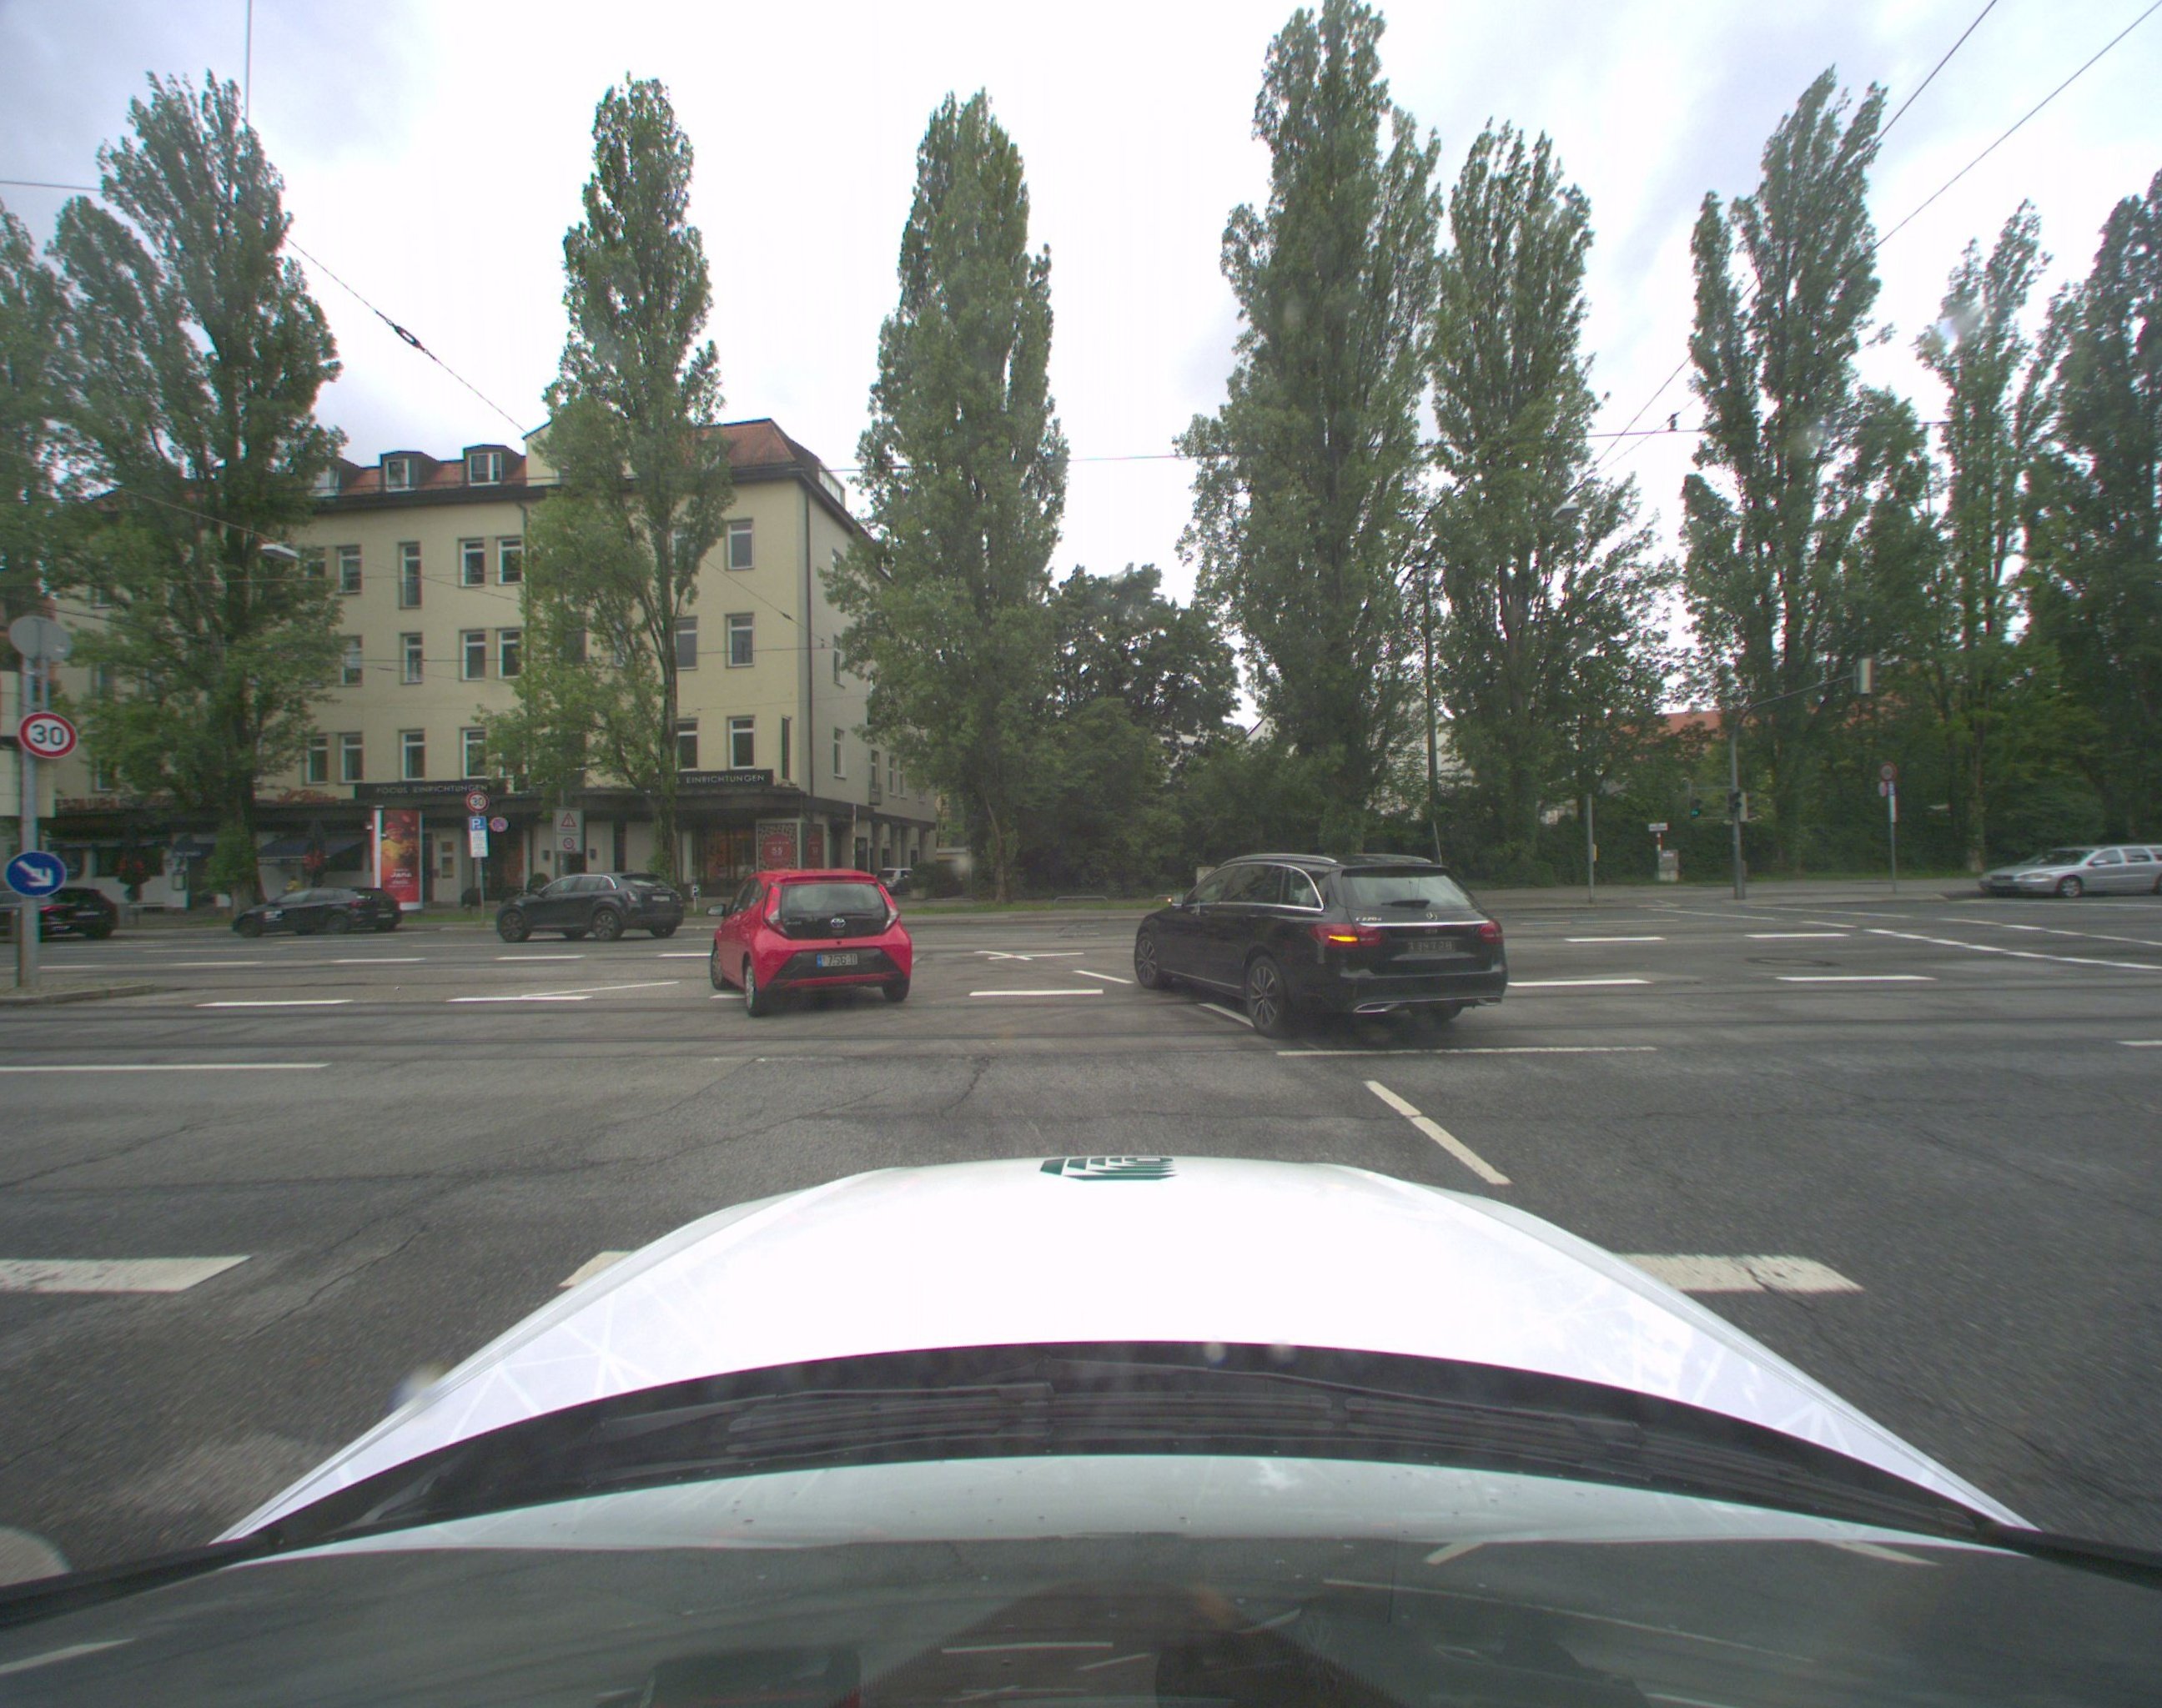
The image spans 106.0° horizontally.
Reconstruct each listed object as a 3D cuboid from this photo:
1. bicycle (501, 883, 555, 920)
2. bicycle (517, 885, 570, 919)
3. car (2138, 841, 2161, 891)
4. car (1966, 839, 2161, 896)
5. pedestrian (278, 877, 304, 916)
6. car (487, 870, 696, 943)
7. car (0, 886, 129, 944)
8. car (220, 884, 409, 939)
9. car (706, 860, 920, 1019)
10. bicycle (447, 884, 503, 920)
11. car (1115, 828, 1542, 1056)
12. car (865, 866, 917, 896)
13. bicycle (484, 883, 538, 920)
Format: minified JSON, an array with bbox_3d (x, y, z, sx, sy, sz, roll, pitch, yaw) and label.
[{"bbox_3d":[-19.267,1.649,28.423,0.492,1.185,1.890,-1,-1,3],"label":"bicycle"},{"bbox_3d":[-18.741,1.660,28.433,0.492,1.082,1.890,-1,-1,3],"label":"bicycle"},{"bbox_3d":[33.727,0.287,23.382,4.227,1.486,1.788,-2,-1,3],"label":"car"},{"bbox_3d":[28.534,0.374,23.301,4.319,1.486,1.788,-2,-1,3],"label":"car"},{"bbox_3d":[-32.883,1.763,33.898,0.491,1.562,0.575,0,-1,6],"label":"pedestrian"},{"bbox_3d":[-11.004,1.170,18.372,3.956,1.486,1.794,-2,-1,16],"label":"car"},{"bbox_3d":[-32.156,1.861,24.845,4.435,1.612,1.729,-2,-1,4],"label":"car"},{"bbox_3d":[-22.957,1.695,24.503,3.972,1.466,1.805,-1,-1,1],"label":"car"},{"bbox_3d":[-3.245,0.832,9.455,1.639,1.440,3.343,-1,-1,-31],"label":"car"},{"bbox_3d":[-21.300,1.665,28.671,0.492,1.185,1.890,-1,-1,3],"label":"bicycle"},{"bbox_3d":[1.930,0.611,8.086,1.867,1.549,4.679,-1,0,-15],"label":"car"},{"bbox_3d":[-10.099,1.406,43.573,1.719,1.442,4.002,-1,-1,2],"label":"car"},{"bbox_3d":[-19.955,1.647,28.555,0.492,1.185,1.890,-1,-1,3],"label":"bicycle"}]
